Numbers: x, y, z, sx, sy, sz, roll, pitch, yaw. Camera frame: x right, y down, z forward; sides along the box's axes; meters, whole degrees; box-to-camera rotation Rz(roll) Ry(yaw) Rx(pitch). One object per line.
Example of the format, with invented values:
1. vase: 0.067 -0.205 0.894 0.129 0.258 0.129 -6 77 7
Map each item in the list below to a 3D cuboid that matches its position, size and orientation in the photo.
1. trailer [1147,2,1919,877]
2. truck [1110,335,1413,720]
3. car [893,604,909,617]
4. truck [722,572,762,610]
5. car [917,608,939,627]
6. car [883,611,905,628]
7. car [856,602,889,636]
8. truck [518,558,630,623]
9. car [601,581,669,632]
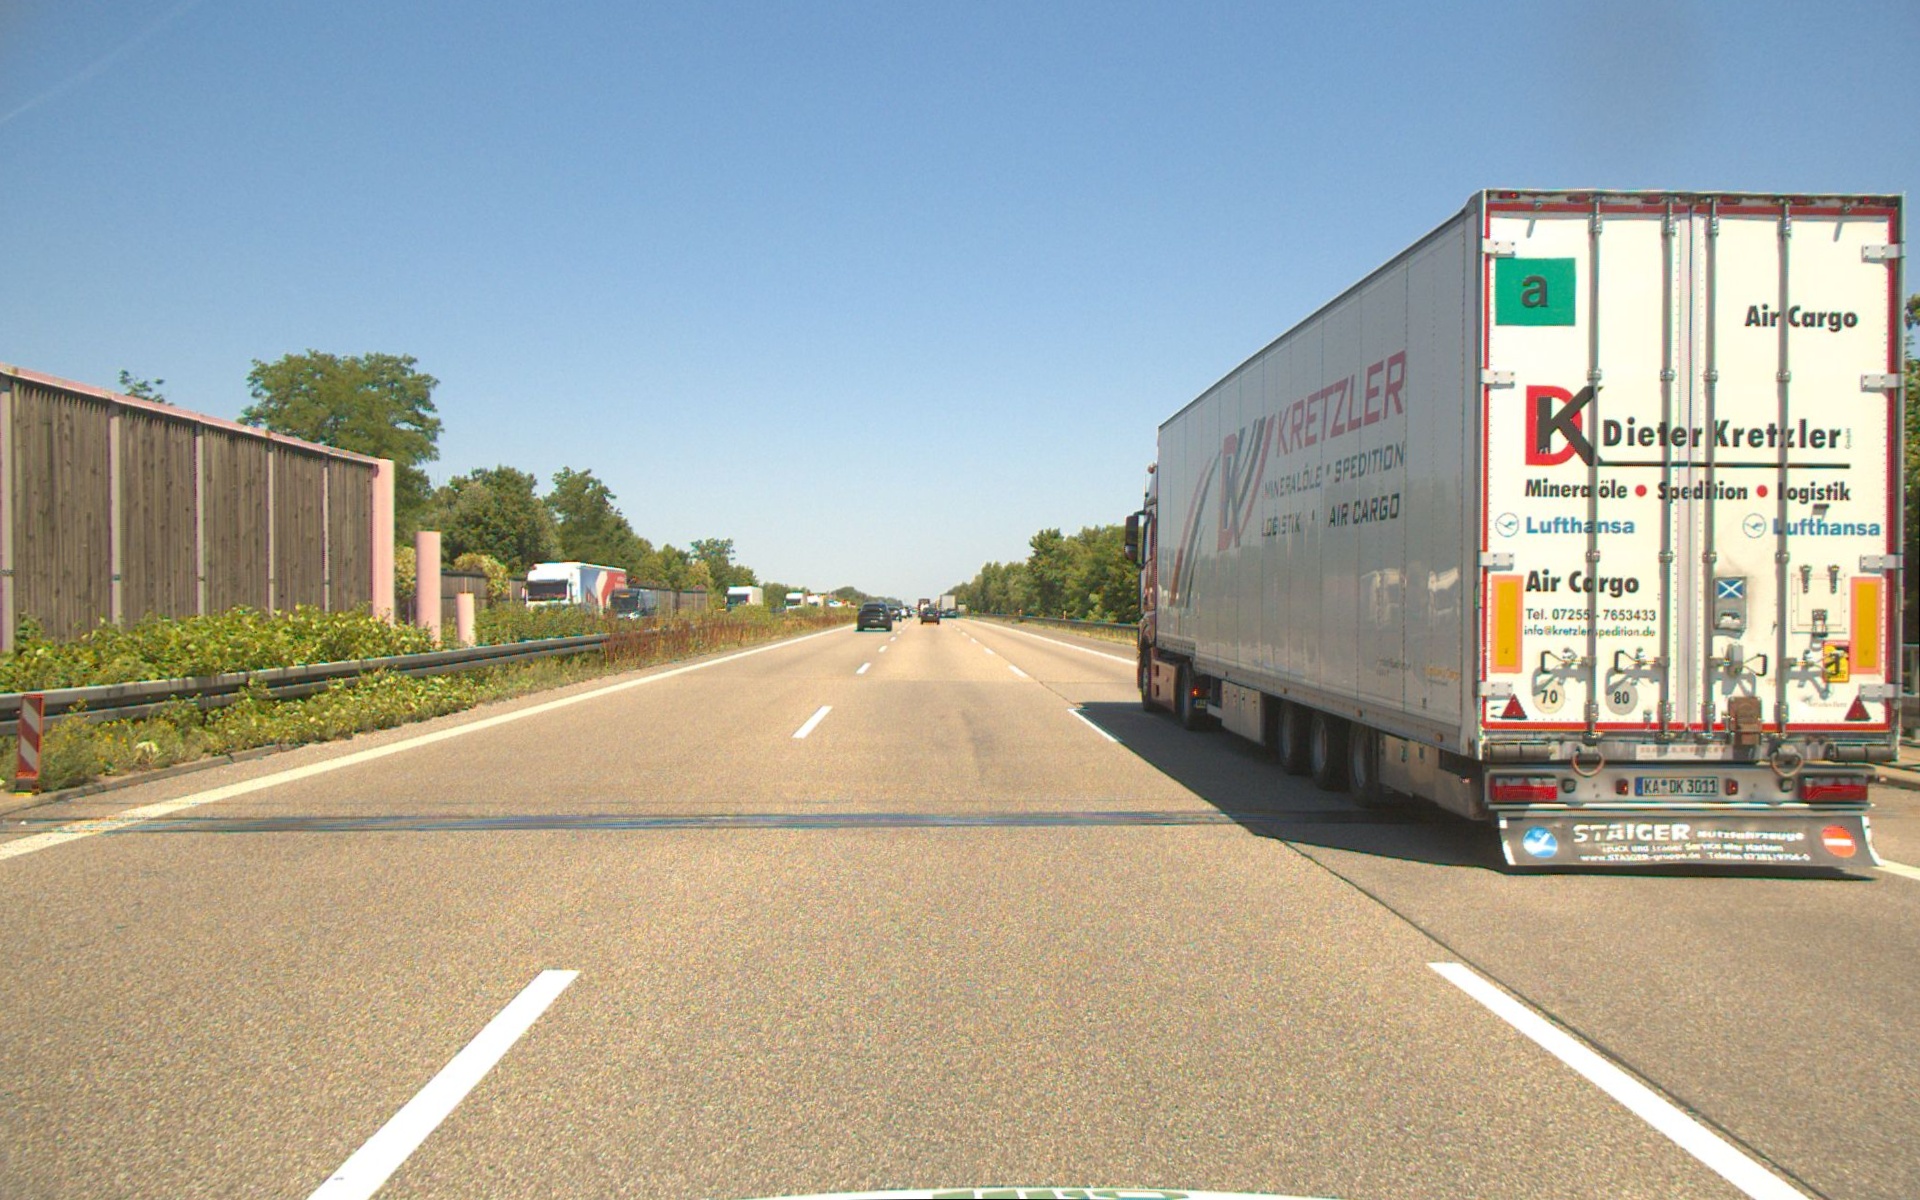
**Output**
1. trailer: 4.367 -0.954 16.412 3.203 4.922 14.027 1 0 -1
2. truck: 4.248 -0.968 25.039 3.168 4.974 6.971 1 0 -1
3. car: -8.022 1.455 226.430 2.085 1.674 4.303 0 -1 -1
4. truck: -24.514 -0.975 186.275 3.509 4.175 7.837 -1 0 -1
5. car: -2.712 1.518 142.533 1.864 1.612 4.303 0 -1 -1
6. car: -6.609 1.945 167.094 2.085 1.674 4.303 0 -1 -1
7. car: -5.069 1.088 96.203 1.842 1.823 3.998 0 1 -3
8. truck: -22.360 -0.579 97.068 2.780 3.400 17.001 1 0 -1
9. car: -18.332 0.386 93.712 2.269 2.607 7.582 4 0 -1
